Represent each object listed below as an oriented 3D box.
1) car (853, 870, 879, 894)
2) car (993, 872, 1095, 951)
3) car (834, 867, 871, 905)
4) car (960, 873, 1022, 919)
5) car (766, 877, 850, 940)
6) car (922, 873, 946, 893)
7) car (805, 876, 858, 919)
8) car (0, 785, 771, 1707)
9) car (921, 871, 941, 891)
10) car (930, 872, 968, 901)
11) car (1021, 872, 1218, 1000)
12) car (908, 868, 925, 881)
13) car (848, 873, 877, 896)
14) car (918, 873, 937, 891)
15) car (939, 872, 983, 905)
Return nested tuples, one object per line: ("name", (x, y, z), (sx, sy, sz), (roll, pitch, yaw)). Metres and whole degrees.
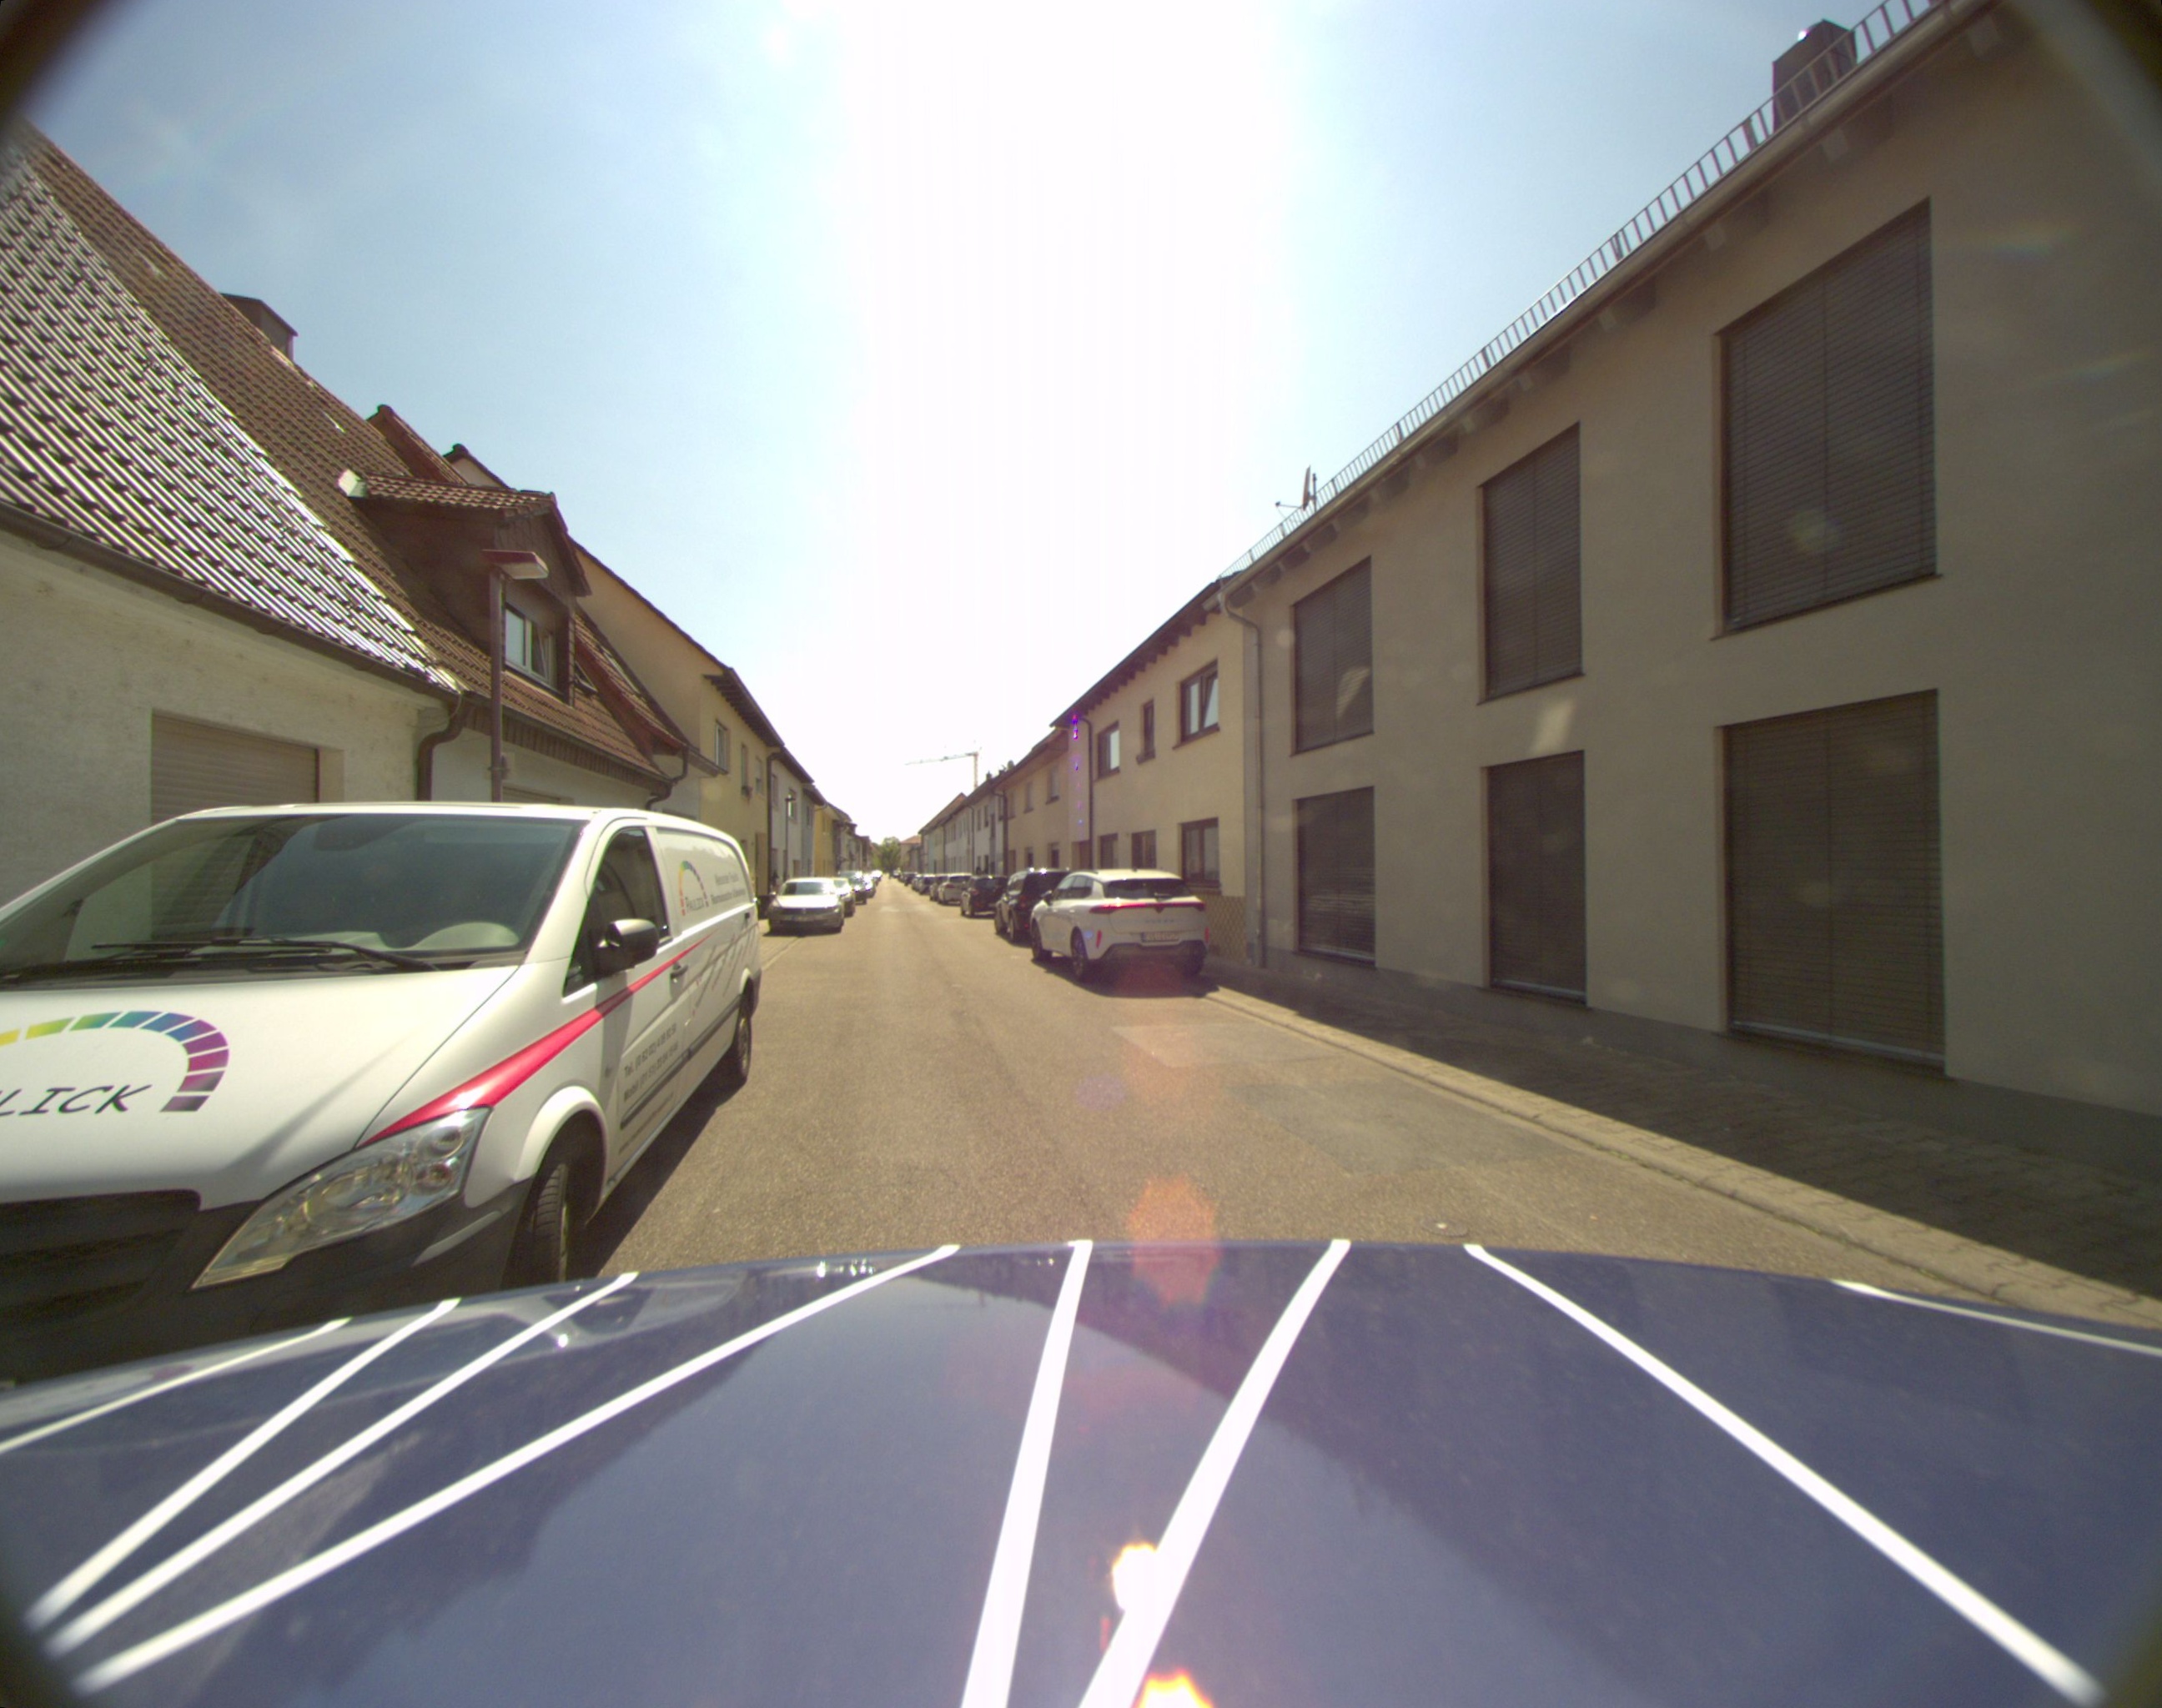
("car", (-15.608, 2.003, 55.090), (1.686, 1.575, 3.957), (-1, -1, -16))
("car", (-1.000, 1.258, 17.979), (1.728, 1.605, 3.985), (1, -1, -13))
("car", (-11.906, 1.619, 39.750), (1.703, 1.767, 4.194), (-1, 0, -15))
("car", (-3.371, 1.500, 27.930), (1.646, 1.528, 3.937), (1, -1, -16))
("car", (-7.596, 1.437, 21.527), (1.845, 1.439, 4.770), (-1, 0, -16))
("car", (-10.873, 2.126, 56.034), (1.608, 1.434, 3.210), (1, -2, -13))
("car", (-9.388, 1.595, 28.854), (1.703, 1.426, 4.097), (-1, 0, -16))
("car", (-3.008, 0.843, 3.718), (2.020, 1.828, 5.259), (-1, 0, -14))
("car", (-11.994, 2.125, 60.739), (1.416, 1.519, 3.022), (1, -1, -13))
("car", (-7.639, 1.826, 43.798), (1.669, 1.532, 3.683), (-1, -1, -17))
("car", (0.379, 1.124, 12.123), (1.781, 1.605, 4.343), (1, -1, -17))
("car", (-20.007, 2.491, 92.182), (1.821, 1.597, 3.883), (1, -1, -15))
("car", (-14.300, 1.996, 49.927), (1.668, 1.406, 4.243), (1, -1, -14))
("car", (-13.297, 2.390, 65.724), (1.416, 1.446, 3.458), (1, -1, -13))
("car", (-6.163, 1.690, 38.581), (1.669, 1.539, 3.936), (0, 0, -17))
